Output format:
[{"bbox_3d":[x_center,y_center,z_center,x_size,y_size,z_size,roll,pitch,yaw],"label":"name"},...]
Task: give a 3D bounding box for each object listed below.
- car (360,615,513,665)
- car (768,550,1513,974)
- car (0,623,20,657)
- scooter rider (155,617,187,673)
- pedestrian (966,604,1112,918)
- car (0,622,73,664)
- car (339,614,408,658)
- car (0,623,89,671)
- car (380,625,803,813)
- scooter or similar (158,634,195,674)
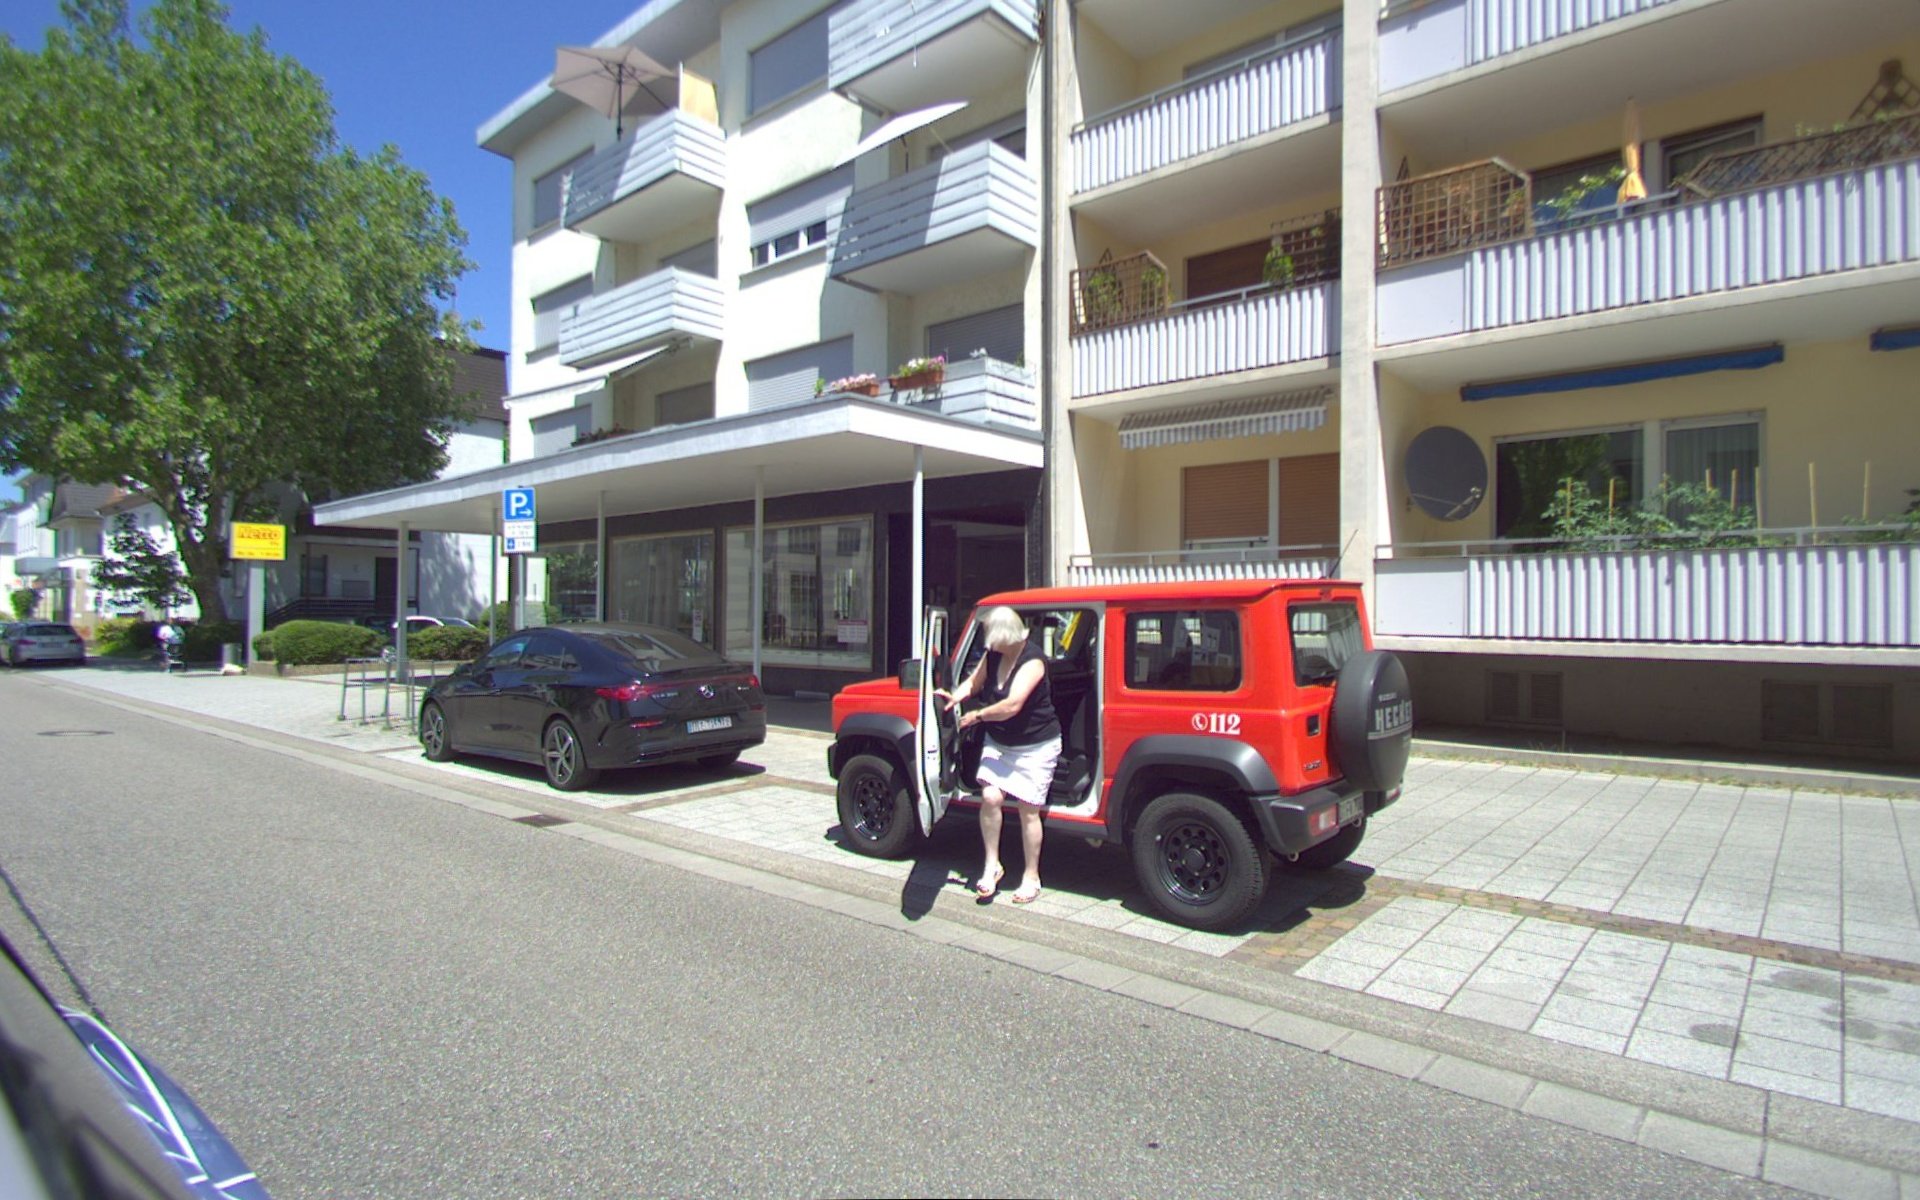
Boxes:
[{"bbox_3d":[-16.414,1.229,31.822,3.953,1.498,1.890,0,-2,11],"label":"car"},{"bbox_3d":[0.834,0.673,6.097,4.099,1.715,1.734,-1,0,41],"label":"car"},{"bbox_3d":[-43.572,1.777,45.144,5.356,1.463,1.960,-1,-1,42],"label":"car"},{"bbox_3d":[-23.051,1.318,29.553,0.877,1.587,0.582,-2,0,42],"label":"scooter rider"},{"bbox_3d":[0.392,0.805,5.377,0.717,1.546,0.728,0,-2,1],"label":"pedestrian"},{"bbox_3d":[-34.653,1.557,37.546,4.864,1.463,1.961,-1,-1,40],"label":"car"},{"bbox_3d":[-22.063,1.325,38.014,1.782,1.557,4.115,2,-2,-36],"label":"car"},{"bbox_3d":[-30.493,1.495,33.349,5.147,1.463,1.961,-1,-1,40],"label":"car"},{"bbox_3d":[-3.987,1.000,10.408,5.045,1.428,1.877,-1,0,41],"label":"car"},{"bbox_3d":[-22.518,1.546,29.075,1.028,1.106,0.656,-2,0,43],"label":"scooter or similar"}]
